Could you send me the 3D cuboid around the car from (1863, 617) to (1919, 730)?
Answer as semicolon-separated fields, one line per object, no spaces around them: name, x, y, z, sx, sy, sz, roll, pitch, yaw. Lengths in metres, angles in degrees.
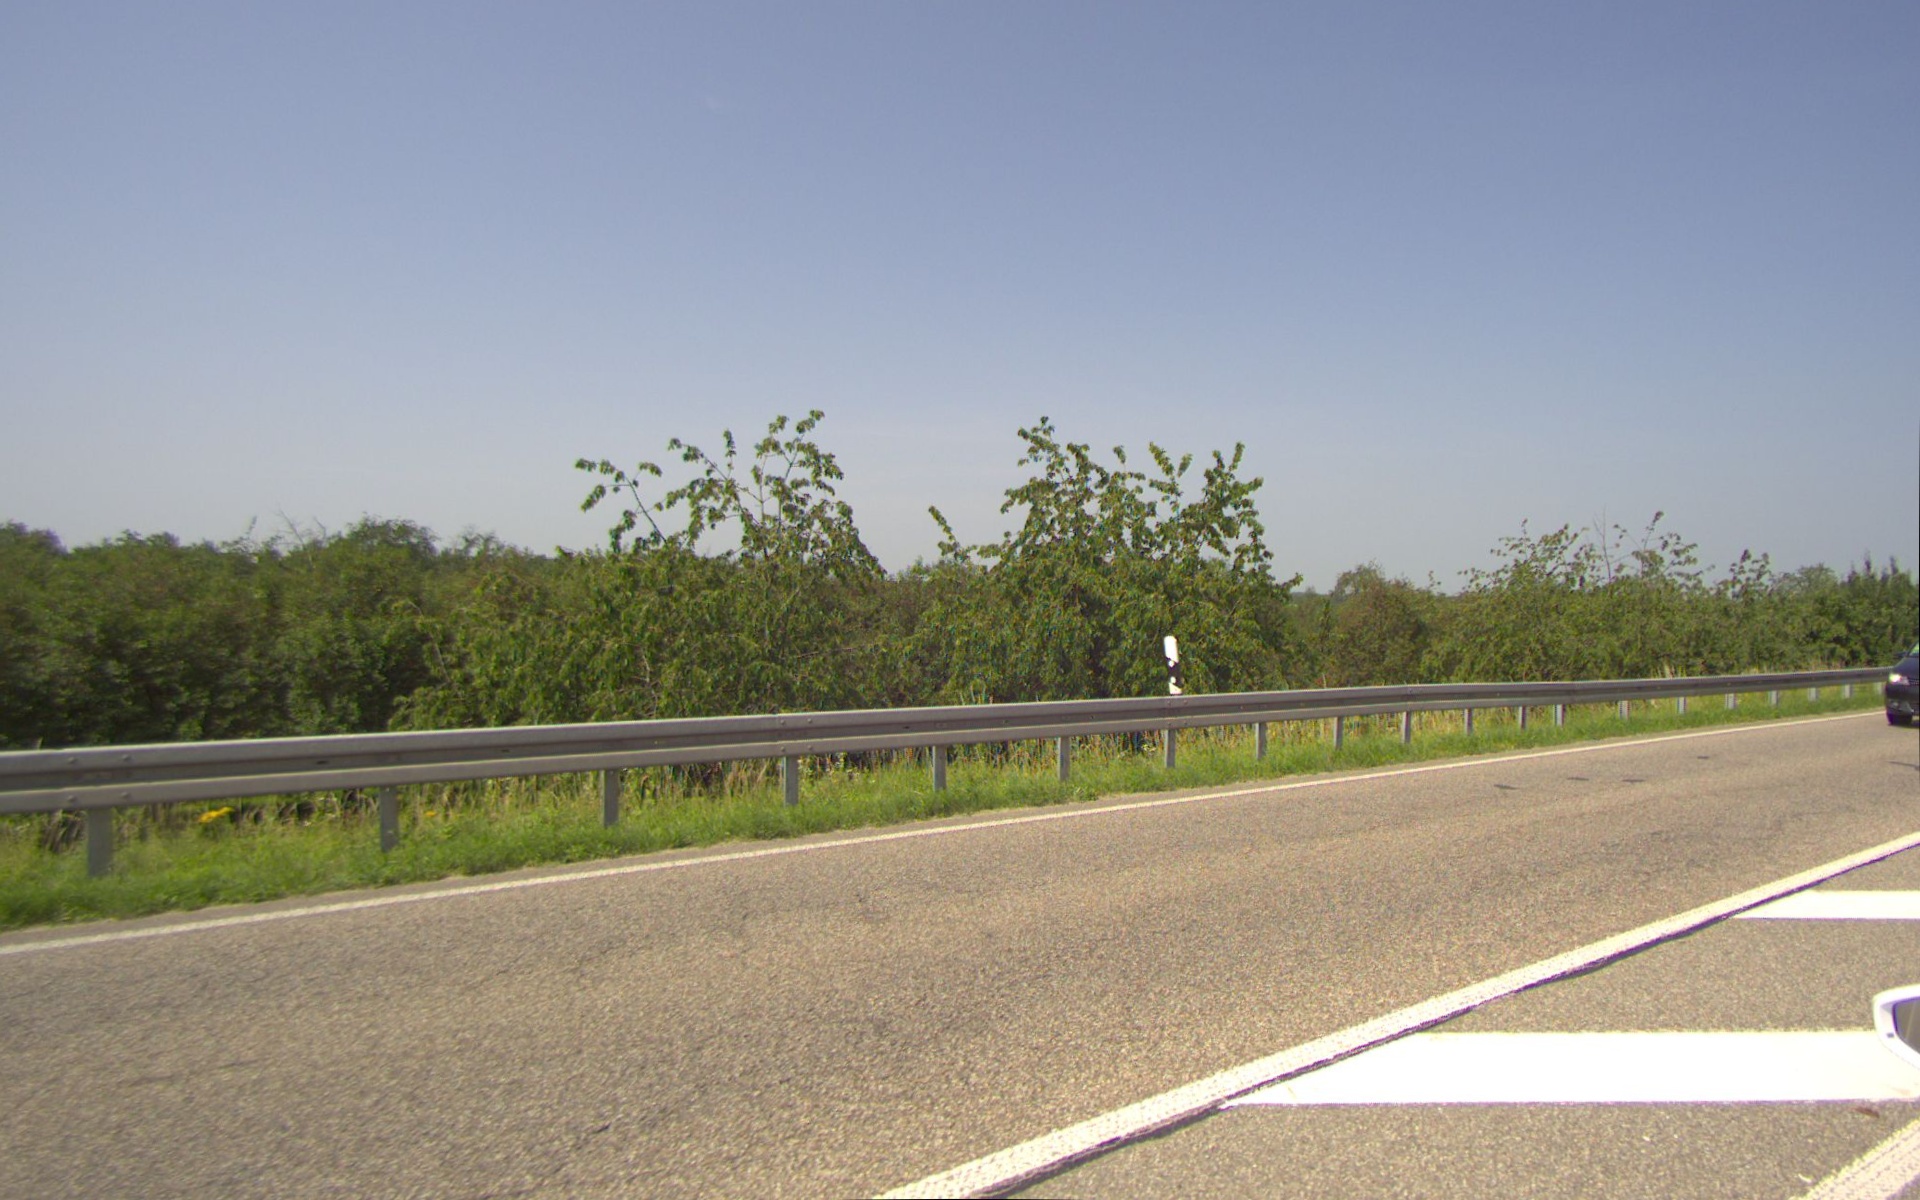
car;16.220;1.138;15.865;4.759;1.659;1.793;2;-1;-33
